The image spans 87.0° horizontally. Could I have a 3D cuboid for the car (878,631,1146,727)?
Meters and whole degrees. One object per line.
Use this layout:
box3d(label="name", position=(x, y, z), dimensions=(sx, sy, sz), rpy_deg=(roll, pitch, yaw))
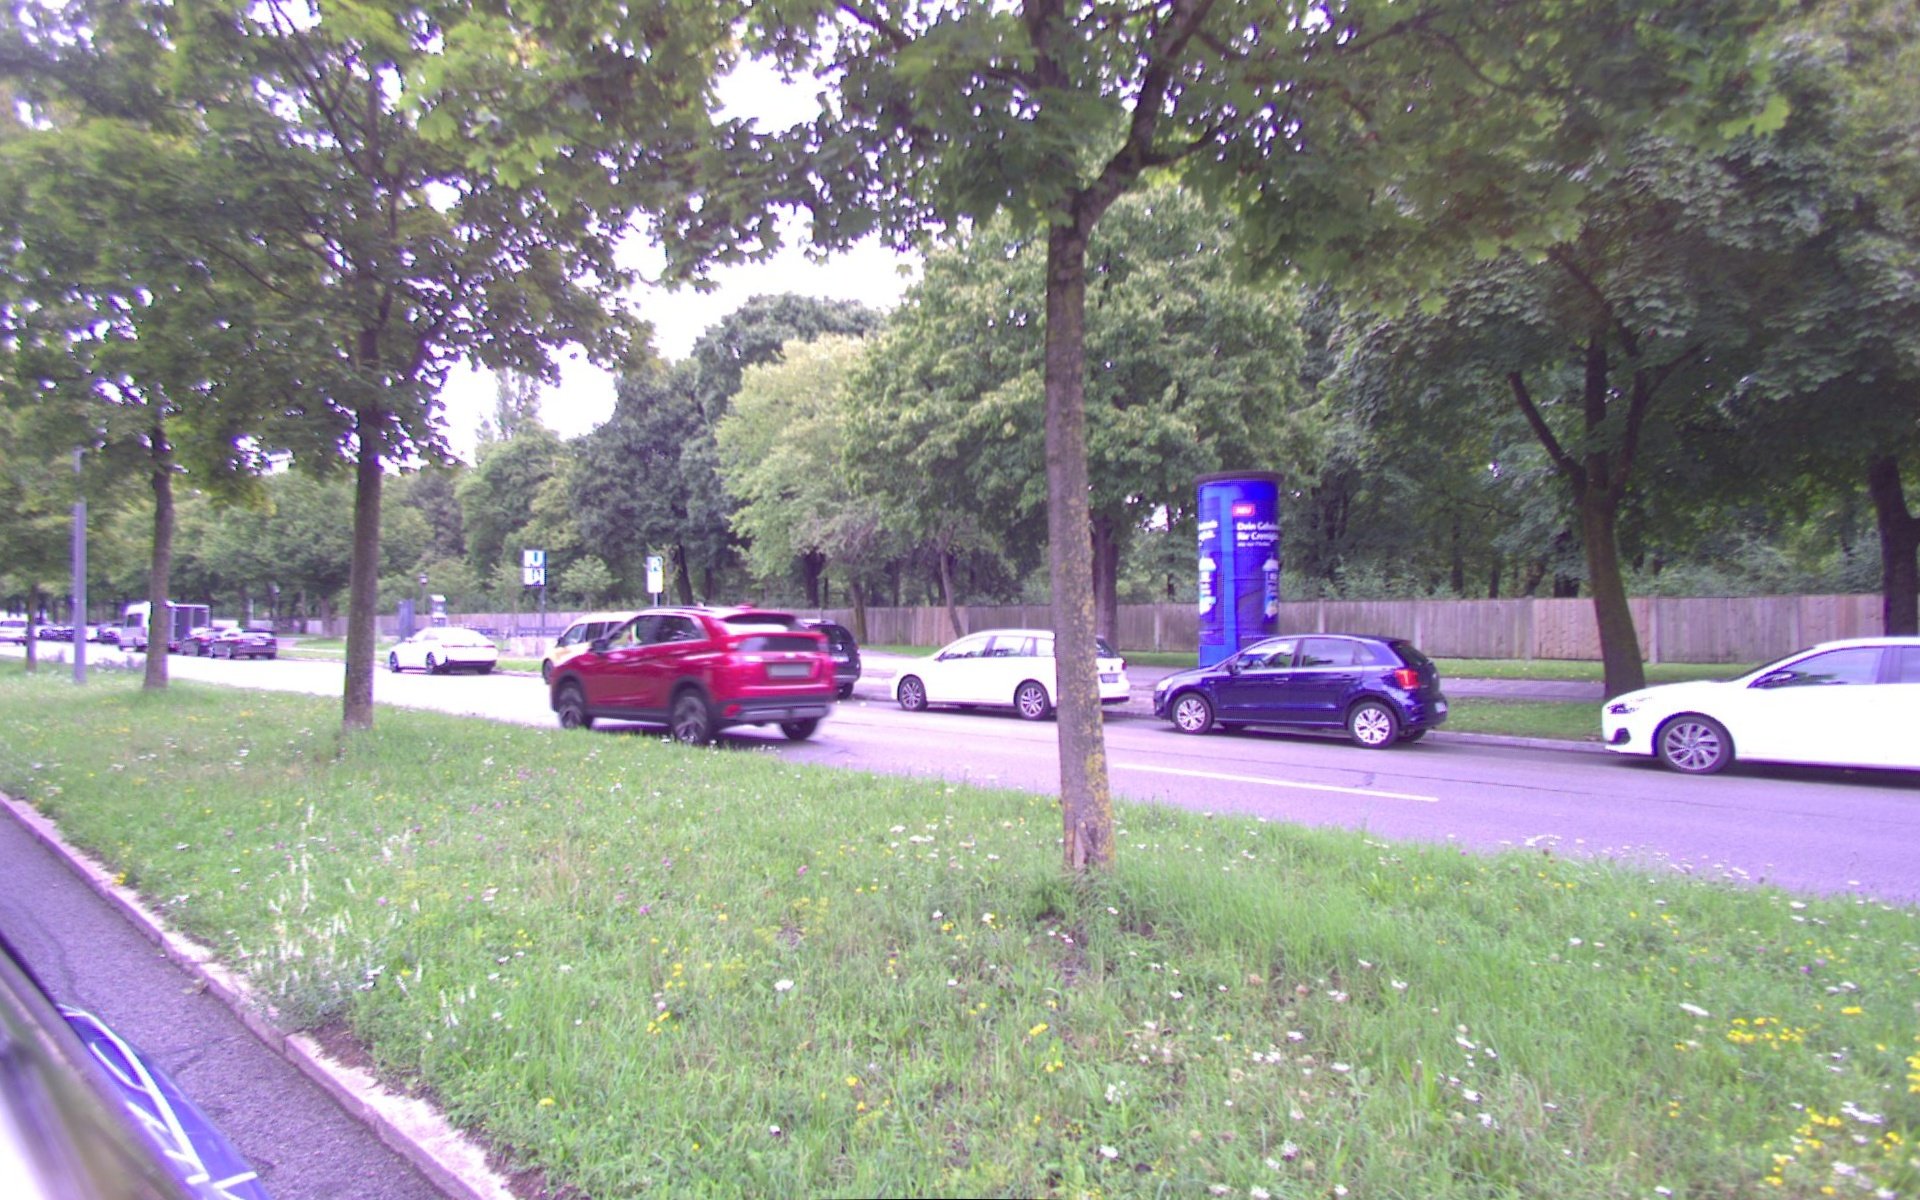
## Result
box3d(label="car", position=(0.799, 1.283, 17.557), dimensions=(4.529, 1.461, 1.744), rpy_deg=(-2, -3, 40))

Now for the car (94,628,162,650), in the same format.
box3d(label="car", position=(-64.213, 2.990, 78.167), dimensions=(1.779, 1.497, 3.993), rpy_deg=(-2, 0, 6))

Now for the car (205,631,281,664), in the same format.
box3d(label="car", position=(-32.758, 2.149, 46.176), dimensions=(4.428, 1.436, 1.781), rpy_deg=(-2, -3, 41))

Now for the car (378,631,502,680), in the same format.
box3d(label="car", position=(-16.918, 1.760, 32.829), dimensions=(4.871, 1.484, 1.838), rpy_deg=(-2, -3, 40))

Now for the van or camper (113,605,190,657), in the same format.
box3d(label="van or camper", position=(-46.746, 1.822, 58.431), dimensions=(7.542, 2.859, 2.014), rpy_deg=(-2, -3, 41))

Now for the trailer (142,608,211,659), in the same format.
box3d(label="trailer", position=(-42.137, 1.815, 54.415), dimensions=(4.656, 2.610, 1.996), rpy_deg=(-2, -3, 41))

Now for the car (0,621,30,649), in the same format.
box3d(label="car", position=(-68.839, 2.502, 73.065), dimensions=(4.990, 1.948, 1.781), rpy_deg=(-1, -3, 40))

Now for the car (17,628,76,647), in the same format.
box3d(label="car", position=(-89.878, 3.687, 99.639), dimensions=(1.869, 1.569, 3.990), rpy_deg=(-2, 0, 8))

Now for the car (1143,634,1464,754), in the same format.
box3d(label="car", position=(4.638, 1.193, 13.942), dimensions=(3.892, 1.428, 1.597), rpy_deg=(-1, -3, 38))

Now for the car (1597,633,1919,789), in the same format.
box3d(label="car", position=(9.167, 1.082, 10.373), dimensions=(4.276, 1.455, 1.590), rpy_deg=(-2, -3, 41))

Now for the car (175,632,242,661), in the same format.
box3d(label="car", position=(-37.621, 2.321, 50.605), dimensions=(4.235, 1.394, 1.781), rpy_deg=(-2, -3, 41))

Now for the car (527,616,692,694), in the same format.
box3d(label="car", position=(-8.950, 1.354, 25.610), dimensions=(4.815, 1.796, 1.795), rpy_deg=(-2, -3, 42))

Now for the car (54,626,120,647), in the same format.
box3d(label="car", position=(-75.908, 3.179, 88.061), dimensions=(1.872, 1.569, 3.984), rpy_deg=(-2, 0, 13))

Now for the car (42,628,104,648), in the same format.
box3d(label="car", position=(-80.652, 3.434, 92.074), dimensions=(1.869, 1.569, 3.990), rpy_deg=(-2, 0, 8))

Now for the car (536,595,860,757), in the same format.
box3d(label="car", position=(-3.420, 0.882, 12.798), dimensions=(4.243, 1.709, 1.884), rpy_deg=(-2, -3, 41))

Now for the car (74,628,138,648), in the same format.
box3d(label="car", position=(-73.125, 3.273, 86.726), dimensions=(1.722, 1.466, 3.984), rpy_deg=(-2, 0, 13))

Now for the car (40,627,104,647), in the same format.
box3d(label="car", position=(-78.260, 3.217, 89.248), dimensions=(1.869, 1.569, 3.990), rpy_deg=(-2, 0, 8))
